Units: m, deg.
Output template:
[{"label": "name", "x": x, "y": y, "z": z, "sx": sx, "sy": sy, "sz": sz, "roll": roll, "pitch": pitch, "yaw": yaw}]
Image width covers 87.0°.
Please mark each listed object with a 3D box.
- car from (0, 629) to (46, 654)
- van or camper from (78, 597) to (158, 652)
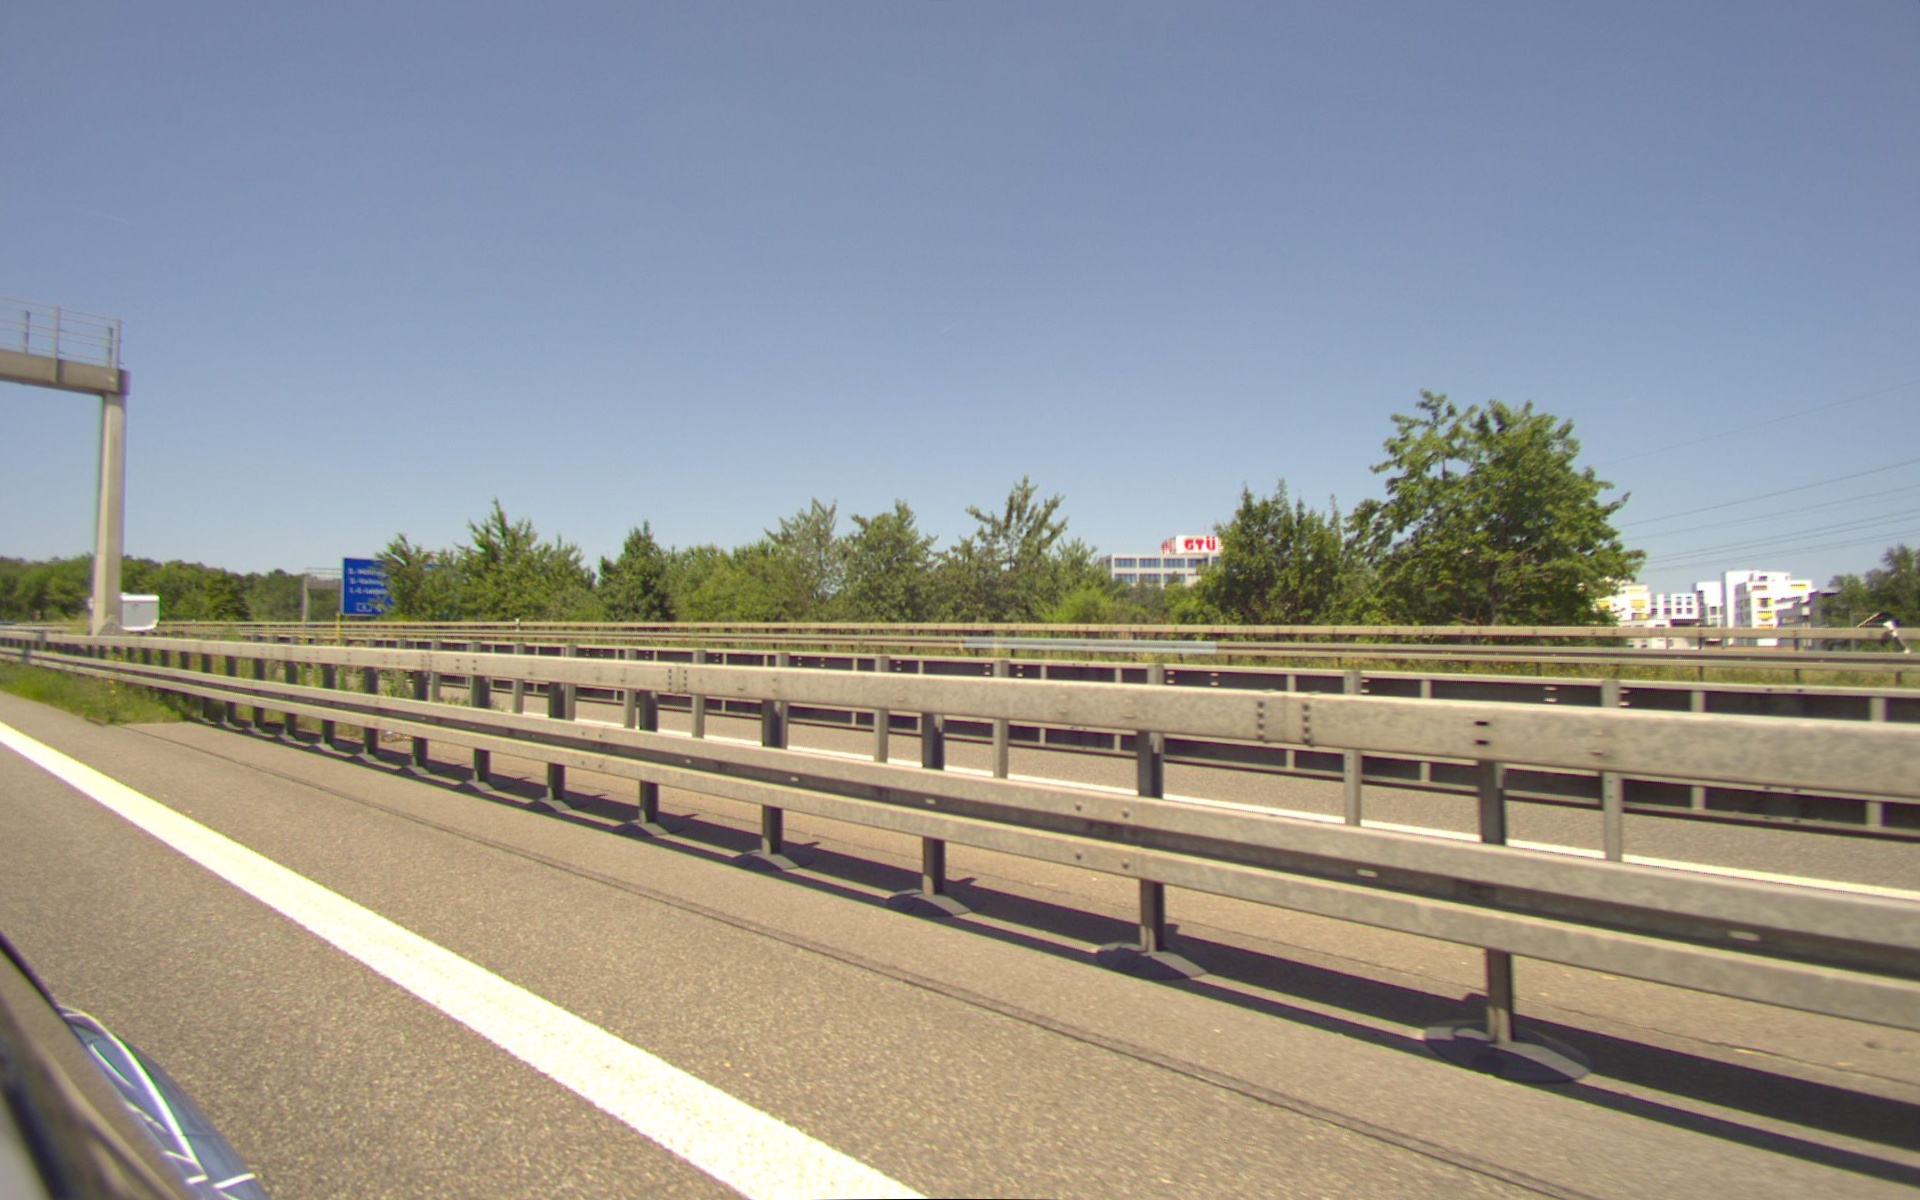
[{"label": "car", "x": -57.037, "y": 2.502, "z": 61.544, "sx": 4.261, "sy": 1.426, "sz": 1.582, "roll": -2, "pitch": -1, "yaw": 40}, {"label": "van or camper", "x": -50.630, "y": 1.479, "z": 60.741, "sx": 8.117, "sy": 3.110, "sz": 2.419, "roll": -2, "pitch": -1, "yaw": 41}]
